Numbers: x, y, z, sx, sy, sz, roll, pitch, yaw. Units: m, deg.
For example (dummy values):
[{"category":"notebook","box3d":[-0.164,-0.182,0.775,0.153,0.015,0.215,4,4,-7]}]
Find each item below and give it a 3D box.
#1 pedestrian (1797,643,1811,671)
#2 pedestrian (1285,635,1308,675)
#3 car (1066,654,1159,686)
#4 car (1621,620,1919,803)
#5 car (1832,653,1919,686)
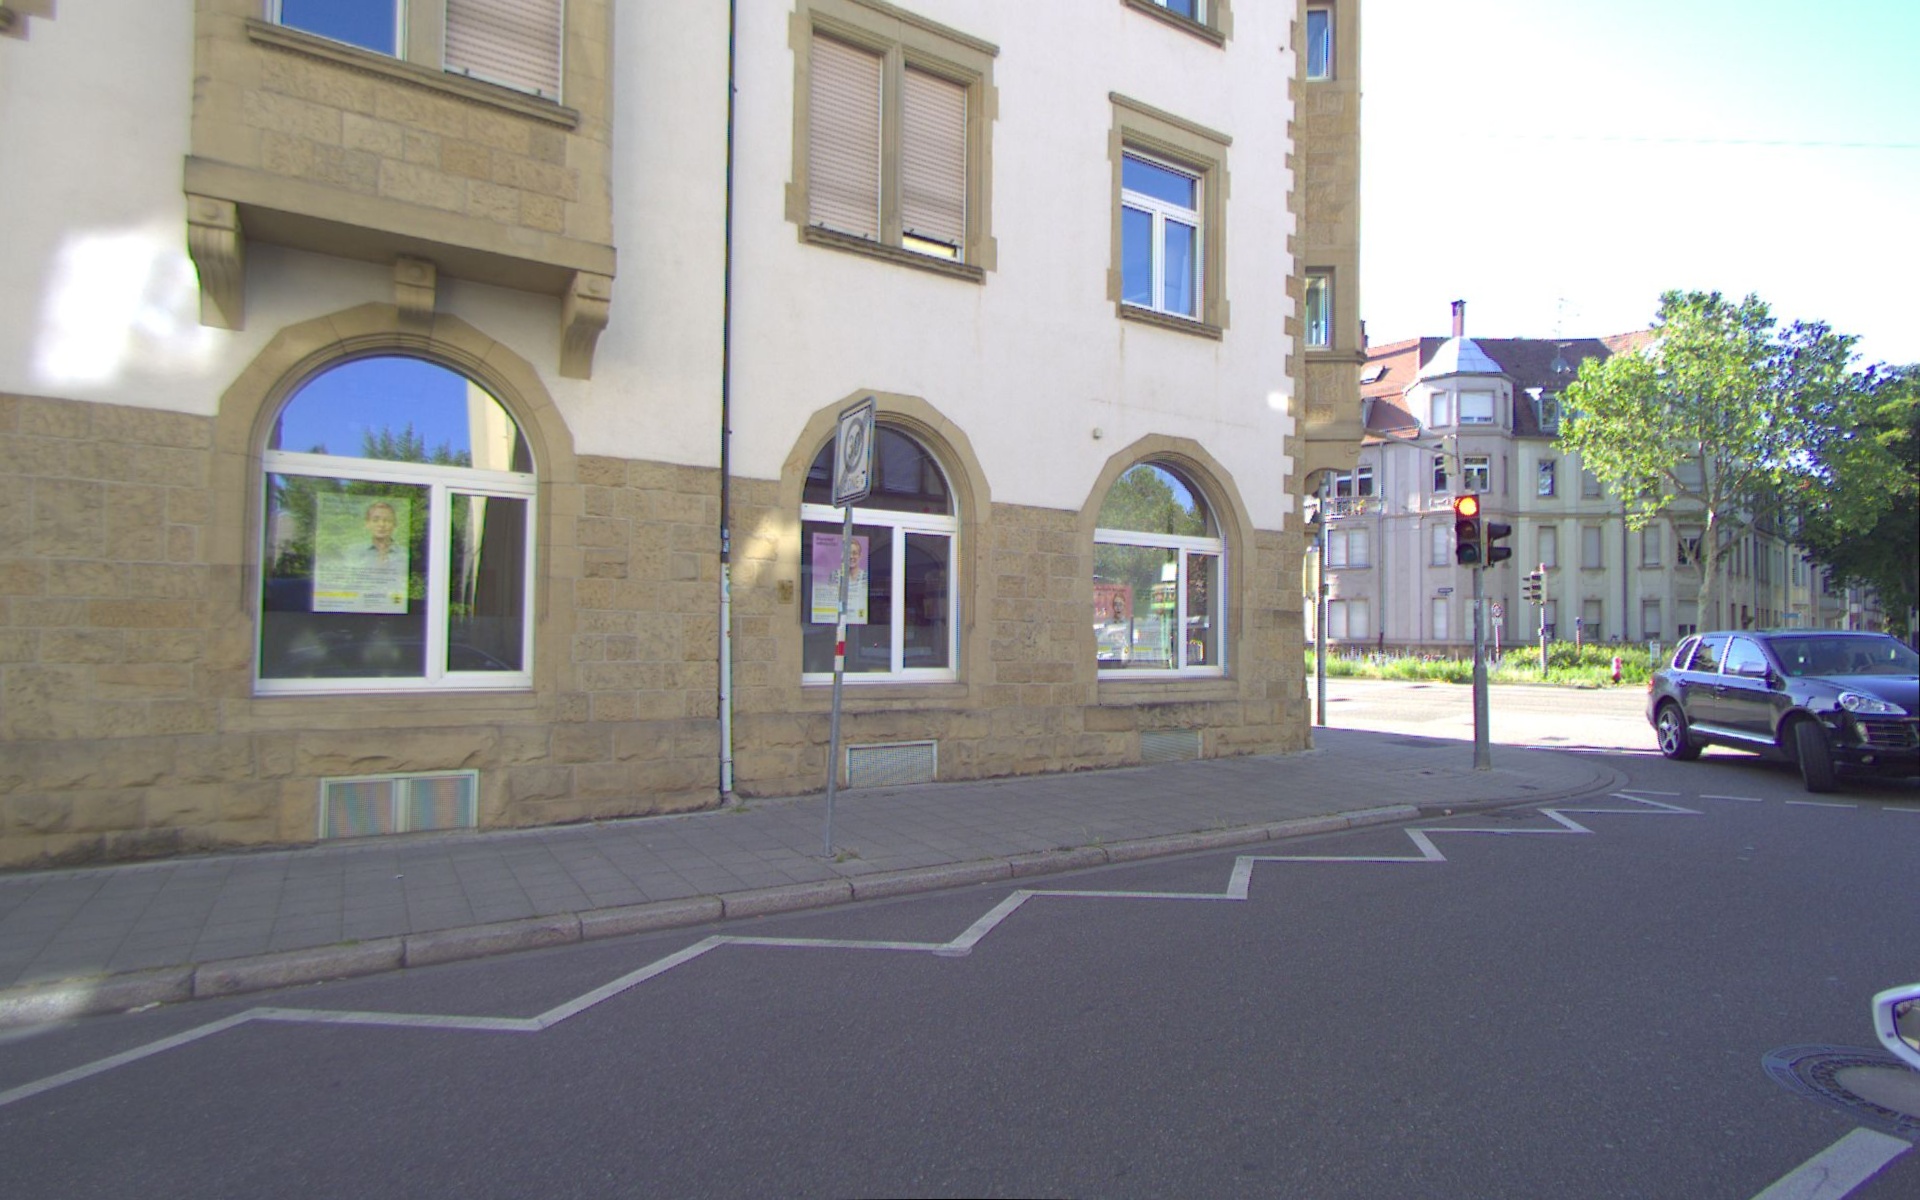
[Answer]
[{"category":"pedestrian","box3d":[44.762,3.009,53.246,0.483,1.461,0.701,2,0,45]},{"category":"pedestrian","box3d":[17.494,2.857,52.255,0.826,2.040,0.748,2,0,44]},{"category":"car","box3d":[7.862,3.587,52.075,1.967,1.475,4.576,2,-3,-42]},{"category":"car","box3d":[9.951,1.146,11.670,2.037,1.715,4.713,-2,-3,10]},{"category":"car","box3d":[45.455,3.406,49.506,1.647,1.476,3.595,2,-2,-44]}]
